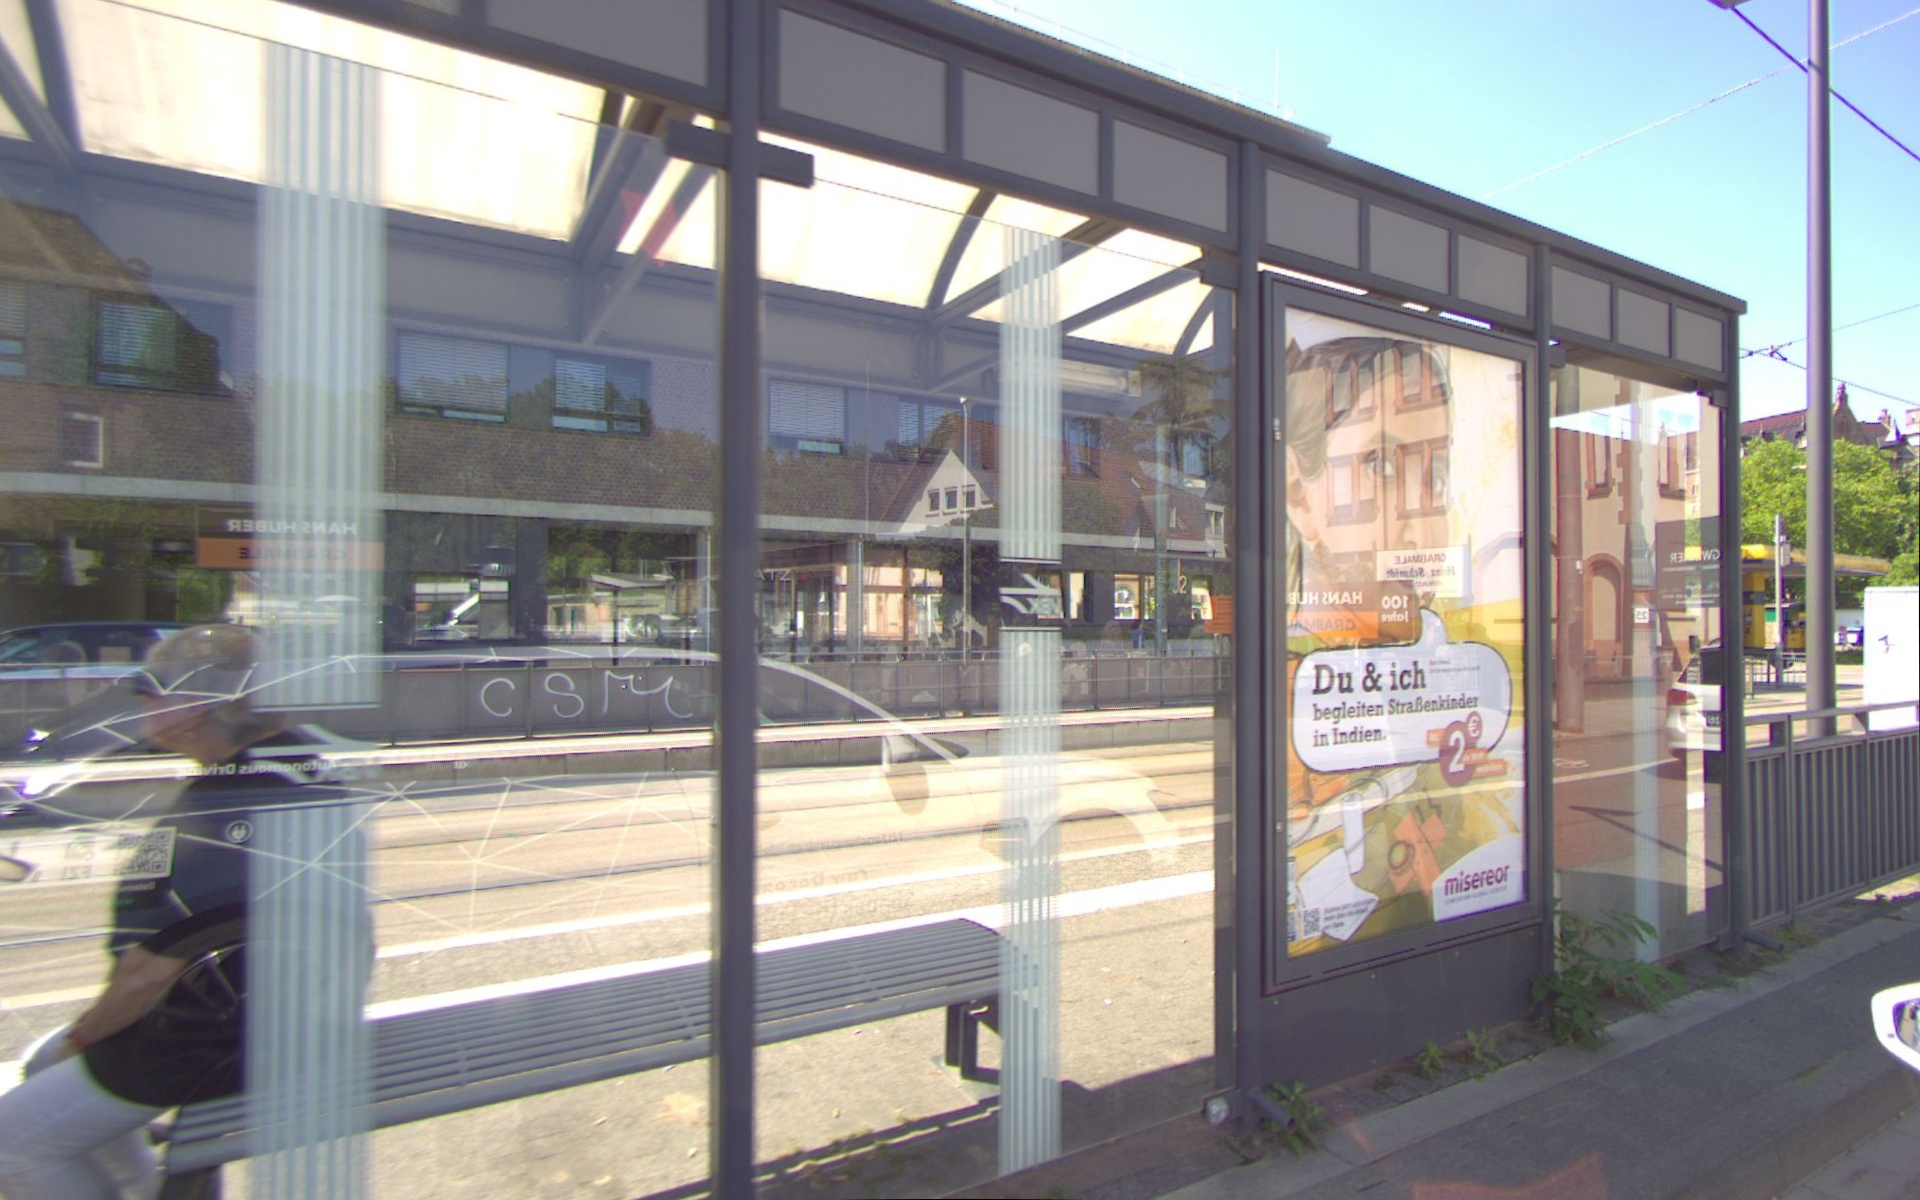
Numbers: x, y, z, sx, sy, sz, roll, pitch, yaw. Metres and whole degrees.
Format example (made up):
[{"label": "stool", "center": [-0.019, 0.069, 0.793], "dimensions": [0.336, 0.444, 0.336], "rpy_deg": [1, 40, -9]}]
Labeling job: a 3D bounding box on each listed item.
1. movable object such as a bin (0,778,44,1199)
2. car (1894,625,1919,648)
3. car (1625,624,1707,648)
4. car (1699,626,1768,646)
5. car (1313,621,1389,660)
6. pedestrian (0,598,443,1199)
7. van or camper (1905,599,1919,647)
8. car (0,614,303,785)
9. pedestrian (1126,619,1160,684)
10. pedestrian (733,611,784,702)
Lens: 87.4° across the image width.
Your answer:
[{"label": "movable object such as a bin", "center": [-1.944, 0.811, 1.668], "dimensions": [0.483, 0.912, 0.626], "rpy_deg": [1, -2, -30]}, {"label": "car", "center": [72.984, 2.736, 74.947], "dimensions": [4.485, 1.646, 1.951], "rpy_deg": [0, -1, 8]}, {"label": "car", "center": [43.801, 2.234, 62.352], "dimensions": [4.314, 1.320, 1.698], "rpy_deg": [1, 0, -13]}, {"label": "car", "center": [61.555, 2.846, 80.060], "dimensions": [1.903, 1.547, 4.163], "rpy_deg": [1, -1, -11]}, {"label": "car", "center": [16.252, 1.659, 41.972], "dimensions": [1.766, 1.442, 4.001], "rpy_deg": [1, 0, 3]}, {"label": "pedestrian", "center": [-1.412, 0.645, 1.936], "dimensions": [0.701, 1.271, 0.626], "rpy_deg": [1, -2, -30]}, {"label": "van or camper", "center": [63.074, 1.561, 61.801], "dimensions": [2.582, 3.007, 6.668], "rpy_deg": [2, 1, -26]}, {"label": "car", "center": [-10.075, 1.056, 11.490], "dimensions": [4.138, 1.752, 1.793], "rpy_deg": [1, 0, -30]}, {"label": "pedestrian", "center": [4.870, 1.358, 26.711], "dimensions": [0.692, 1.686, 0.578], "rpy_deg": [1, -1, -31]}, {"label": "pedestrian", "center": [-4.190, 1.152, 20.856], "dimensions": [0.828, 1.843, 0.841], "rpy_deg": [1, -1, -29]}]
